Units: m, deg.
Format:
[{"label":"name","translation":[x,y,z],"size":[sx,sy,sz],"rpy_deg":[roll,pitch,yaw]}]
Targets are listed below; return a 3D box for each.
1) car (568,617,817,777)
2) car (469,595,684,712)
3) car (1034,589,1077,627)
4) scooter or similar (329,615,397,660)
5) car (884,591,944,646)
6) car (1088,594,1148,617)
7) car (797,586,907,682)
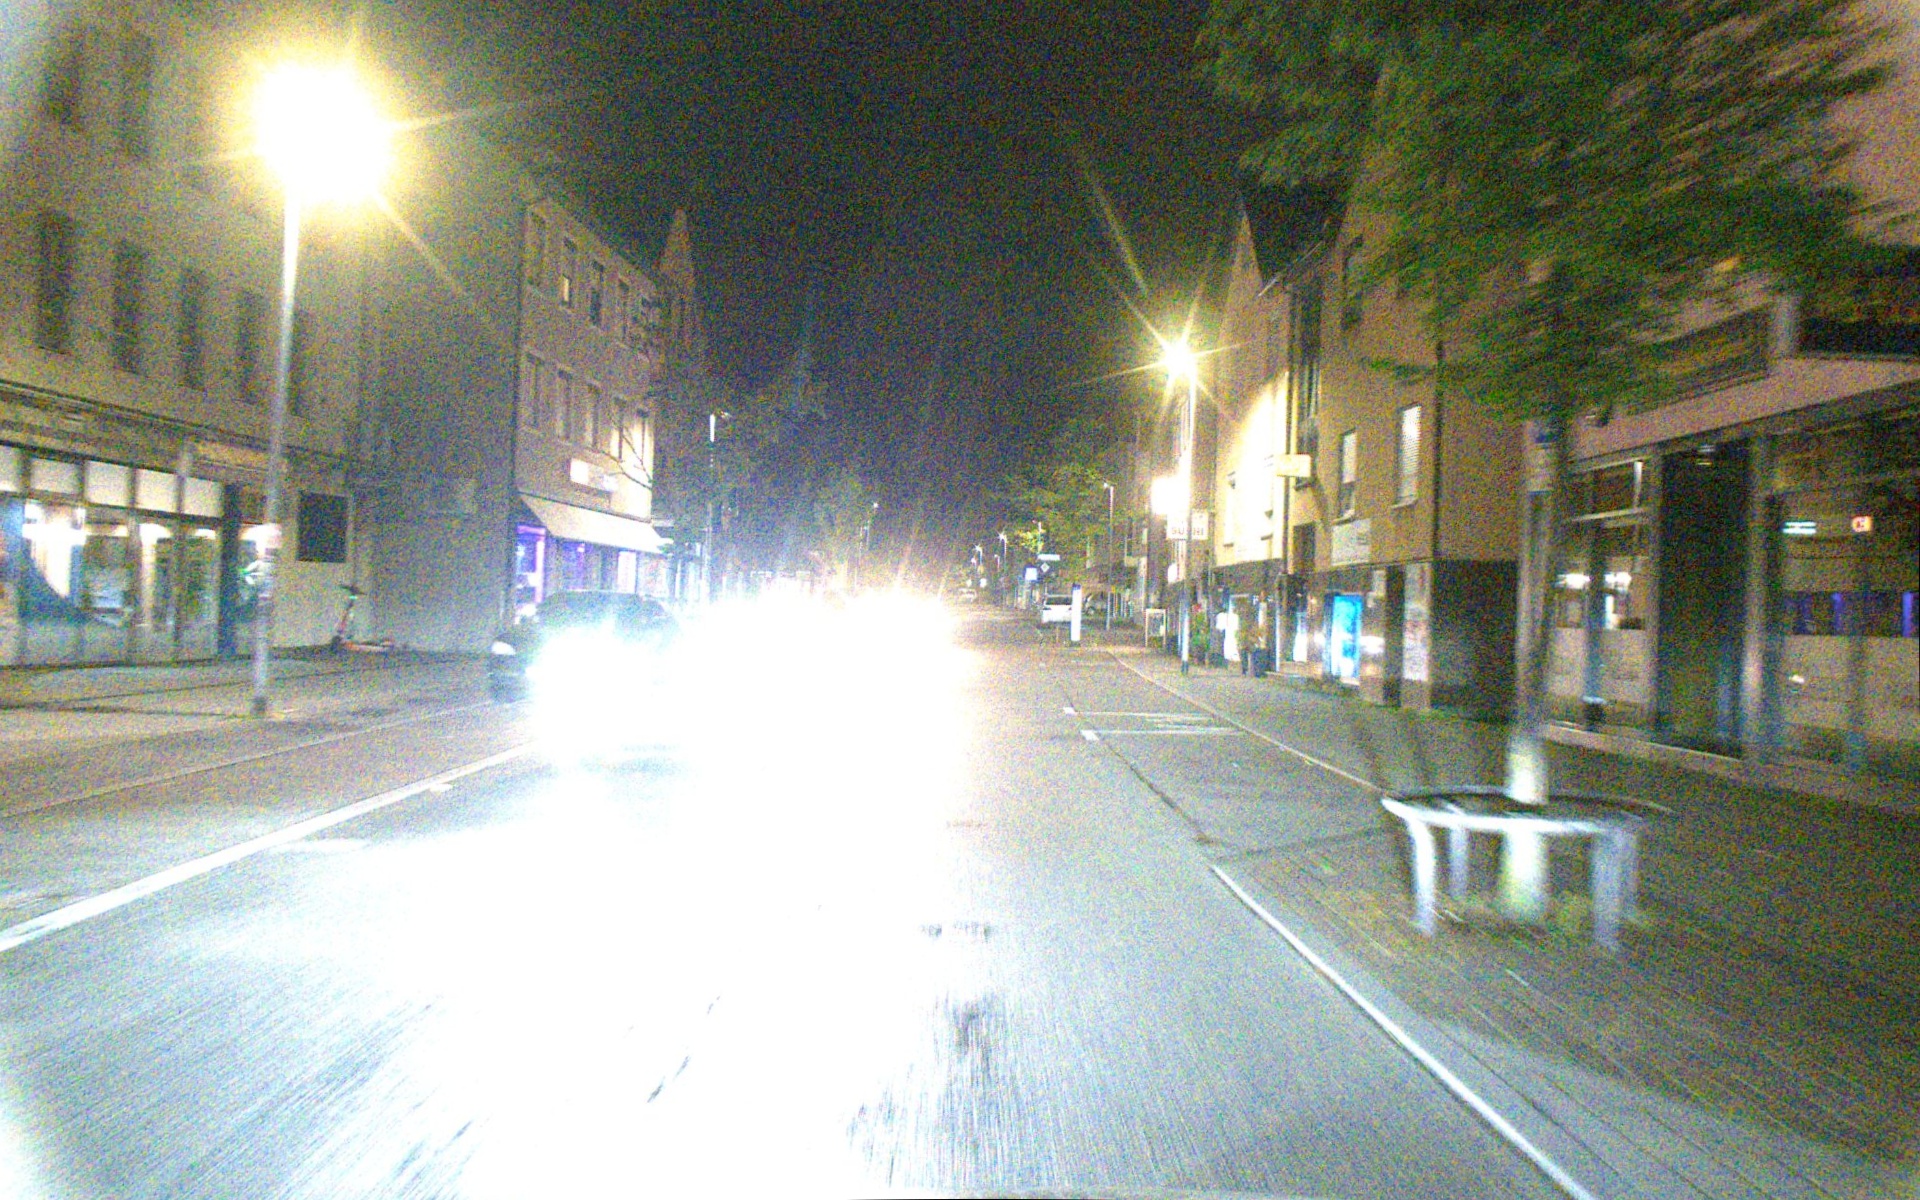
[{"label":"car","translation":[-2.432,0.840,16.039],"size":[1.688,1.268,4.237],"rpy_deg":[1,0,0]},{"label":"car","translation":[-5.161,0.666,22.901],"size":[1.875,1.394,4.458],"rpy_deg":[1,1,1]},{"label":"car","translation":[4.382,0.346,76.633],"size":[1.739,1.681,4.364],"rpy_deg":[1,0,0]},{"label":"scooter or similar","translation":[-10.988,0.687,30.458],"size":[1.073,0.795,0.524],"rpy_deg":[1,0,-4]},{"label":"car","translation":[-1.442,0.562,53.616],"size":[1.739,1.681,4.364],"rpy_deg":[1,0,1]},{"label":"car","translation":[10.466,0.373,109.836],"size":[3.903,1.441,2.001],"rpy_deg":[1,-2,5]},{"label":"car","translation":[-1.990,0.597,31.576],"size":[1.739,1.681,4.364],"rpy_deg":[1,0,1]}]
